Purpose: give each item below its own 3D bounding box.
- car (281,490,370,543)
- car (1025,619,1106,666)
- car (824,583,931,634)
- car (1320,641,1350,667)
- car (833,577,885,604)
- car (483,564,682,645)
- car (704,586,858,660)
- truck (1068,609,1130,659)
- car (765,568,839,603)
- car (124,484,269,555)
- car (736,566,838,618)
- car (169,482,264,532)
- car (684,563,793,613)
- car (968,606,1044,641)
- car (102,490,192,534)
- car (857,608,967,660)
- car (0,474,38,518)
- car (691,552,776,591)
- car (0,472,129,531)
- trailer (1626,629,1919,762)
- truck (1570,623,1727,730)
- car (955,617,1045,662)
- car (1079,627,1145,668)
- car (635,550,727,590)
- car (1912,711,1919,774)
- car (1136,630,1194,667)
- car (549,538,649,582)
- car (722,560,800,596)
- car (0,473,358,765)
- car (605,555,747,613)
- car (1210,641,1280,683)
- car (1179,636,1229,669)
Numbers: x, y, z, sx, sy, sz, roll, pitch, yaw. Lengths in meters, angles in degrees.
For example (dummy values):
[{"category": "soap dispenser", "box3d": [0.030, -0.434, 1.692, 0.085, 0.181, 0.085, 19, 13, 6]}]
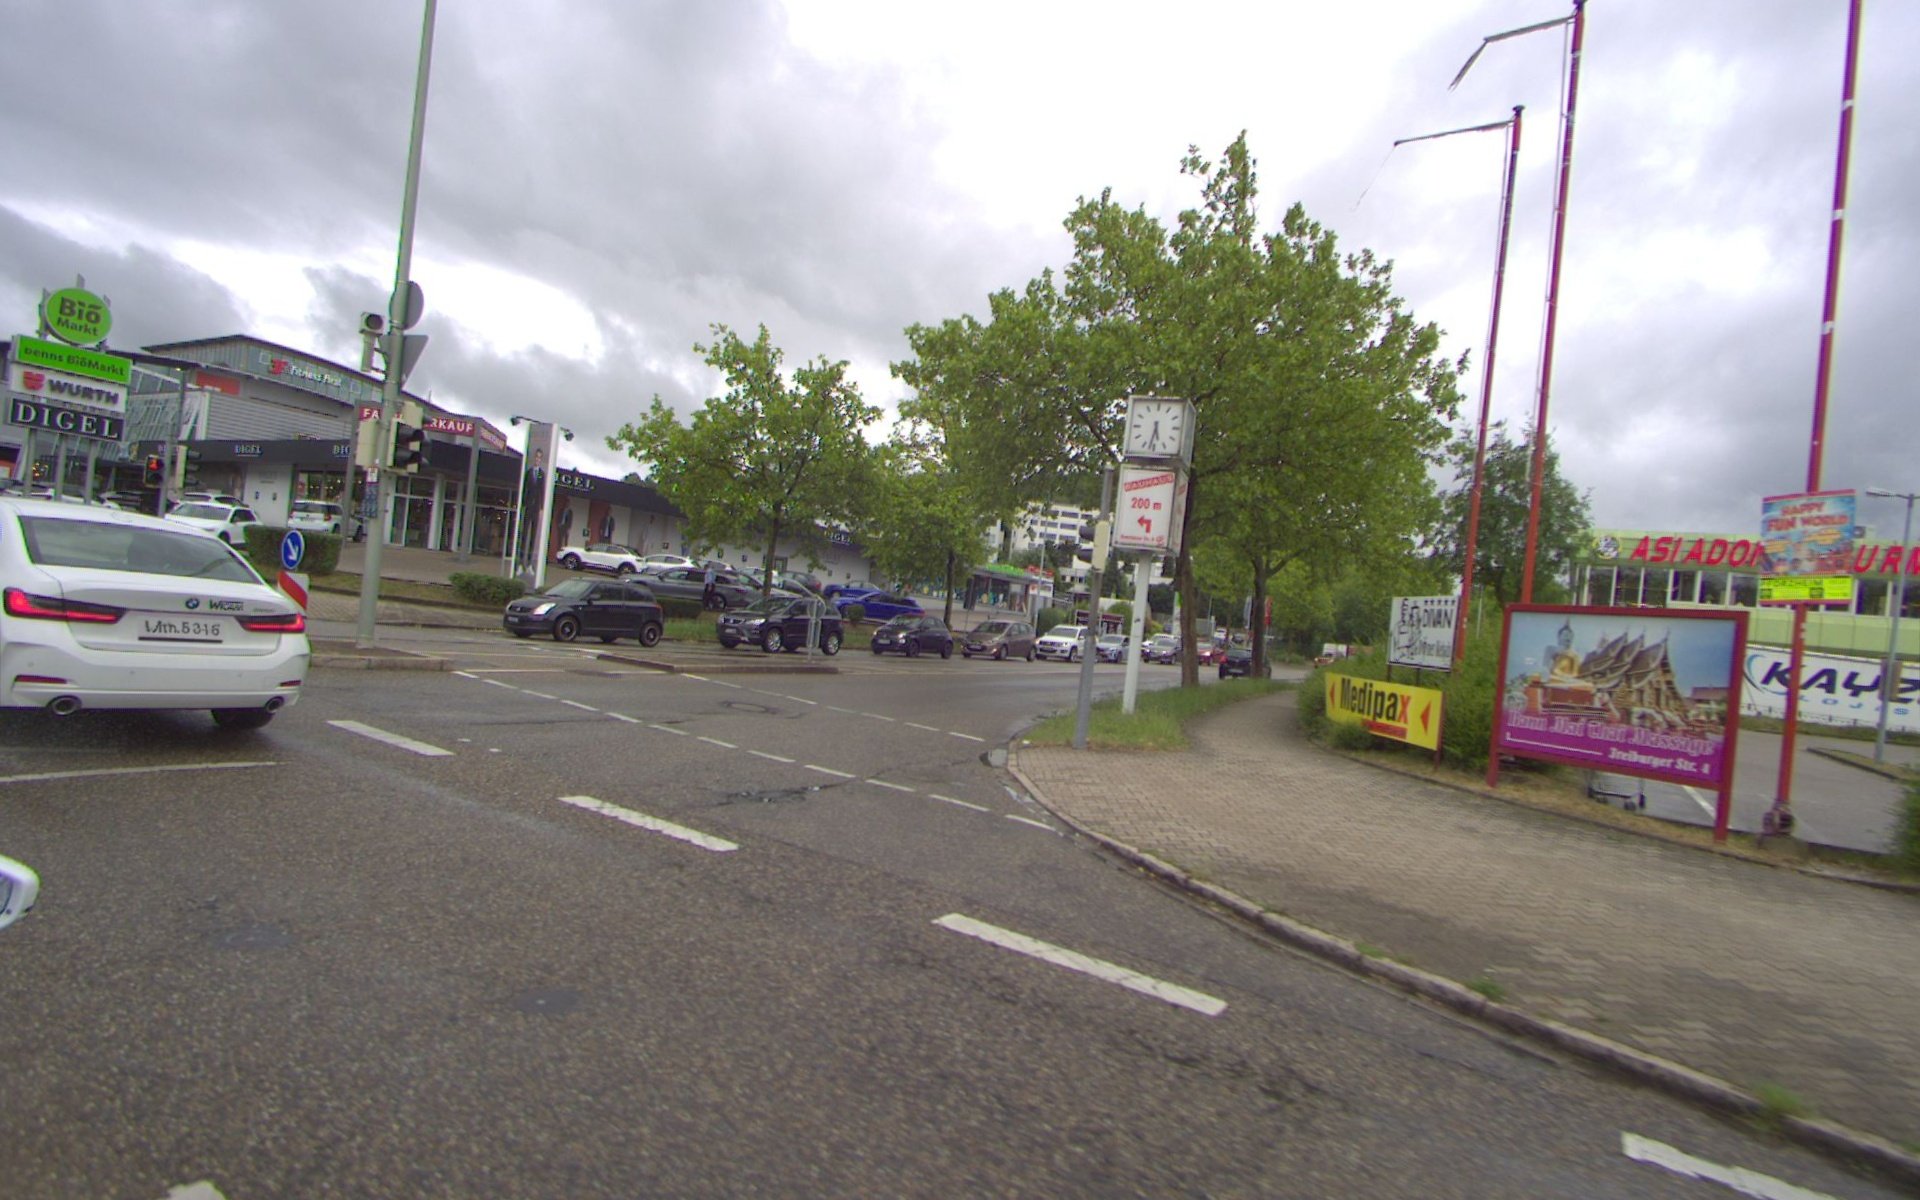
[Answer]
[{"category": "car", "box3d": [-27.453, -3.557, 43.655, 1.709, 1.792, 4.145, 7, 0, -11]}, {"category": "car", "box3d": [4.914, 2.000, 46.227, 1.892, 1.861, 4.332, 6, 0, 32]}, {"category": "car", "box3d": [-4.076, 0.463, 49.365, 4.850, 1.812, 1.997, 8, -3, -13]}, {"category": "car", "box3d": [36.708, 5.263, 98.448, 1.966, 2.217, 3.993, 7, 0, 30]}, {"category": "car", "box3d": [-6.559, -0.611, 65.363, 3.190, 1.286, 1.538, 7, 0, -9]}, {"category": "car", "box3d": [-8.639, 0.151, 23.367, 1.788, 1.507, 3.983, 6, 0, 32]}, {"category": "car", "box3d": [-4.985, 0.698, 28.493, 1.712, 1.565, 4.144, 6, -3, 37]}, {"category": "truck", "box3d": [7.813, 1.937, 56.310, 1.788, 2.516, 3.983, 6, 0, 32]}, {"category": "car", "box3d": [-9.190, -0.836, 58.696, 4.083, 1.499, 1.735, 7, 0, -9]}, {"category": "car", "box3d": [-22.501, -2.307, 29.877, 1.903, 1.595, 4.273, 7, 0, -16]}, {"category": "car", "box3d": [-7.495, -0.316, 43.824, 4.155, 1.596, 2.000, 7, -3, -8]}, {"category": "car", "box3d": [-35.661, -4.427, 48.392, 1.708, 1.792, 4.149, 7, 0, -7]}, {"category": "car", "box3d": [-8.955, -0.446, 41.027, 4.083, 1.395, 1.983, 7, -3, -8]}, {"category": "car", "box3d": [2.925, 1.513, 64.584, 4.366, 1.639, 1.933, 7, 0, 31]}, {"category": "car", "box3d": [-41.504, -4.460, 51.486, 1.606, 1.741, 3.970, 7, 0, -7]}, {"category": "car", "box3d": [-1.614, 1.208, 35.211, 1.788, 1.507, 3.983, 6, 0, 32]}, {"category": "car", "box3d": [-37.959, -4.186, 38.804, 1.615, 1.555, 3.594, 7, 0, -7]}, {"category": "car", "box3d": [-11.933, -1.491, 53.216, 4.083, 1.499, 1.735, 7, 0, -9]}, {"category": "car", "box3d": [-32.732, -3.557, 36.579, 1.948, 1.684, 4.019, 7, 1, -7]}, {"category": "trailer", "box3d": [35.553, 4.122, 40.071, 14.568, 3.759, 3.158, 8, -1, 32]}, {"category": "truck", "box3d": [29.759, 3.326, 43.800, 5.051, 3.759, 3.158, 8, -1, 32]}, {"category": "car", "box3d": [1.644, 1.601, 40.165, 1.788, 1.465, 3.983, 6, 0, 32]}, {"category": "car", "box3d": [7.754, 2.435, 51.122, 1.788, 1.762, 3.983, 6, 0, 32]}, {"category": "car", "box3d": [-14.014, -1.486, 50.667, 4.080, 1.499, 1.736, 7, 0, -5]}, {"category": "car", "box3d": [20.267, 2.920, 19.397, 1.968, 1.459, 3.990, 7, 0, 34]}, {"category": "car", "box3d": [11.711, 2.765, 57.218, 1.823, 1.762, 3.984, 7, 0, 32]}, {"category": "car", "box3d": [-17.026, -1.857, 47.635, 4.083, 1.499, 1.735, 7, 0, -9]}, {"category": "car", "box3d": [-11.115, -1.208, 56.335, 4.083, 1.499, 1.735, 7, 0, -9]}, {"category": "car", "box3d": [-6.622, -0.015, 7.290, 4.542, 1.561, 1.806, 7, -2, 31]}, {"category": "car", "box3d": [-10.637, -0.580, 38.052, 4.930, 1.504, 1.995, 7, 0, -13]}, {"category": "car", "box3d": [12.688, 2.789, 44.630, 1.966, 1.548, 3.994, 7, 0, 30]}, {"category": "car", "box3d": [15.326, 3.314, 63.069, 1.787, 1.762, 3.984, 7, 0, 32]}]
